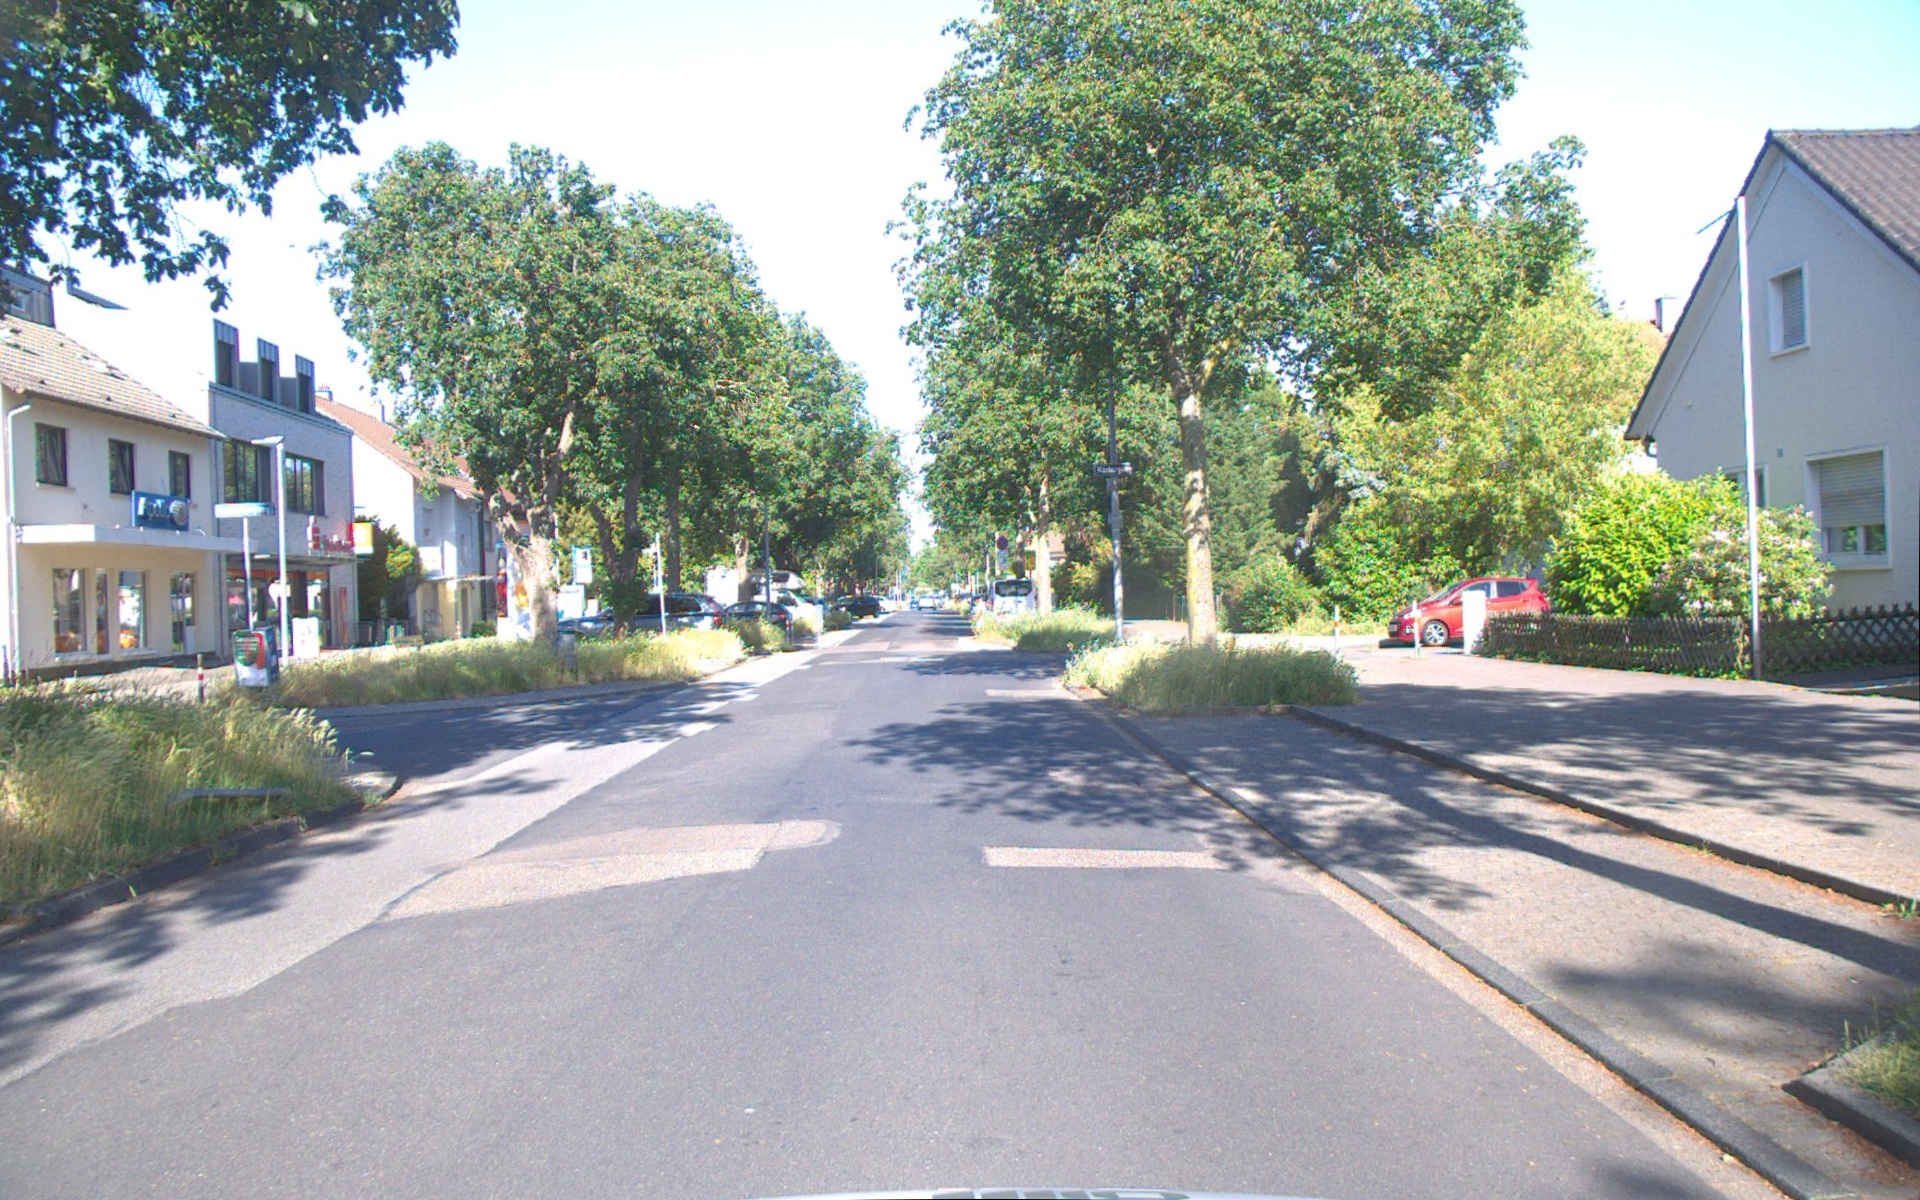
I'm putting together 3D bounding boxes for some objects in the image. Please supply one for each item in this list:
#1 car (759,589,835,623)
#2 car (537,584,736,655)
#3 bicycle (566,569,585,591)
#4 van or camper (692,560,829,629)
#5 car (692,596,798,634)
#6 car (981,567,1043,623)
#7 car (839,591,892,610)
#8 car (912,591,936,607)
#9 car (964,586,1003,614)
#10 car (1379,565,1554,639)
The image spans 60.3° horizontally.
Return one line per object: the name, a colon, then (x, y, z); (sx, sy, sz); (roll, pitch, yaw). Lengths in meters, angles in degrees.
car: (-8.740, 0.317, 88.754); (3.907, 1.690, 1.966); (-2, 0, -2)
car: (-8.546, 0.520, 44.079); (4.962, 1.758, 1.998); (1, 0, -5)
bicycle: (-21.743, -1.118, 93.501); (0.693, 1.197, 4.037); (-2, 1, -17)
van or camper: (-8.660, -0.244, 72.023); (5.657, 2.854, 2.000); (1, 0, 1)
car: (-8.457, 0.594, 65.206); (3.904, 1.475, 1.640); (0, 0, 2)
car: (1.951, -0.174, 63.510); (1.953, 2.049, 5.194); (1, 0, -2)
car: (-7.823, 0.046, 137.012); (4.123, 1.480, 2.001); (-2, 0, 3)
car: (-3.530, -0.104, 162.392); (1.956, 1.534, 3.651); (1, 0, -8)
car: (1.440, 0.017, 101.120); (1.951, 1.536, 4.002); (-3, -1, 6)
car: (11.557, 0.019, 37.863); (3.471, 1.537, 1.638); (-2, 1, -5)
